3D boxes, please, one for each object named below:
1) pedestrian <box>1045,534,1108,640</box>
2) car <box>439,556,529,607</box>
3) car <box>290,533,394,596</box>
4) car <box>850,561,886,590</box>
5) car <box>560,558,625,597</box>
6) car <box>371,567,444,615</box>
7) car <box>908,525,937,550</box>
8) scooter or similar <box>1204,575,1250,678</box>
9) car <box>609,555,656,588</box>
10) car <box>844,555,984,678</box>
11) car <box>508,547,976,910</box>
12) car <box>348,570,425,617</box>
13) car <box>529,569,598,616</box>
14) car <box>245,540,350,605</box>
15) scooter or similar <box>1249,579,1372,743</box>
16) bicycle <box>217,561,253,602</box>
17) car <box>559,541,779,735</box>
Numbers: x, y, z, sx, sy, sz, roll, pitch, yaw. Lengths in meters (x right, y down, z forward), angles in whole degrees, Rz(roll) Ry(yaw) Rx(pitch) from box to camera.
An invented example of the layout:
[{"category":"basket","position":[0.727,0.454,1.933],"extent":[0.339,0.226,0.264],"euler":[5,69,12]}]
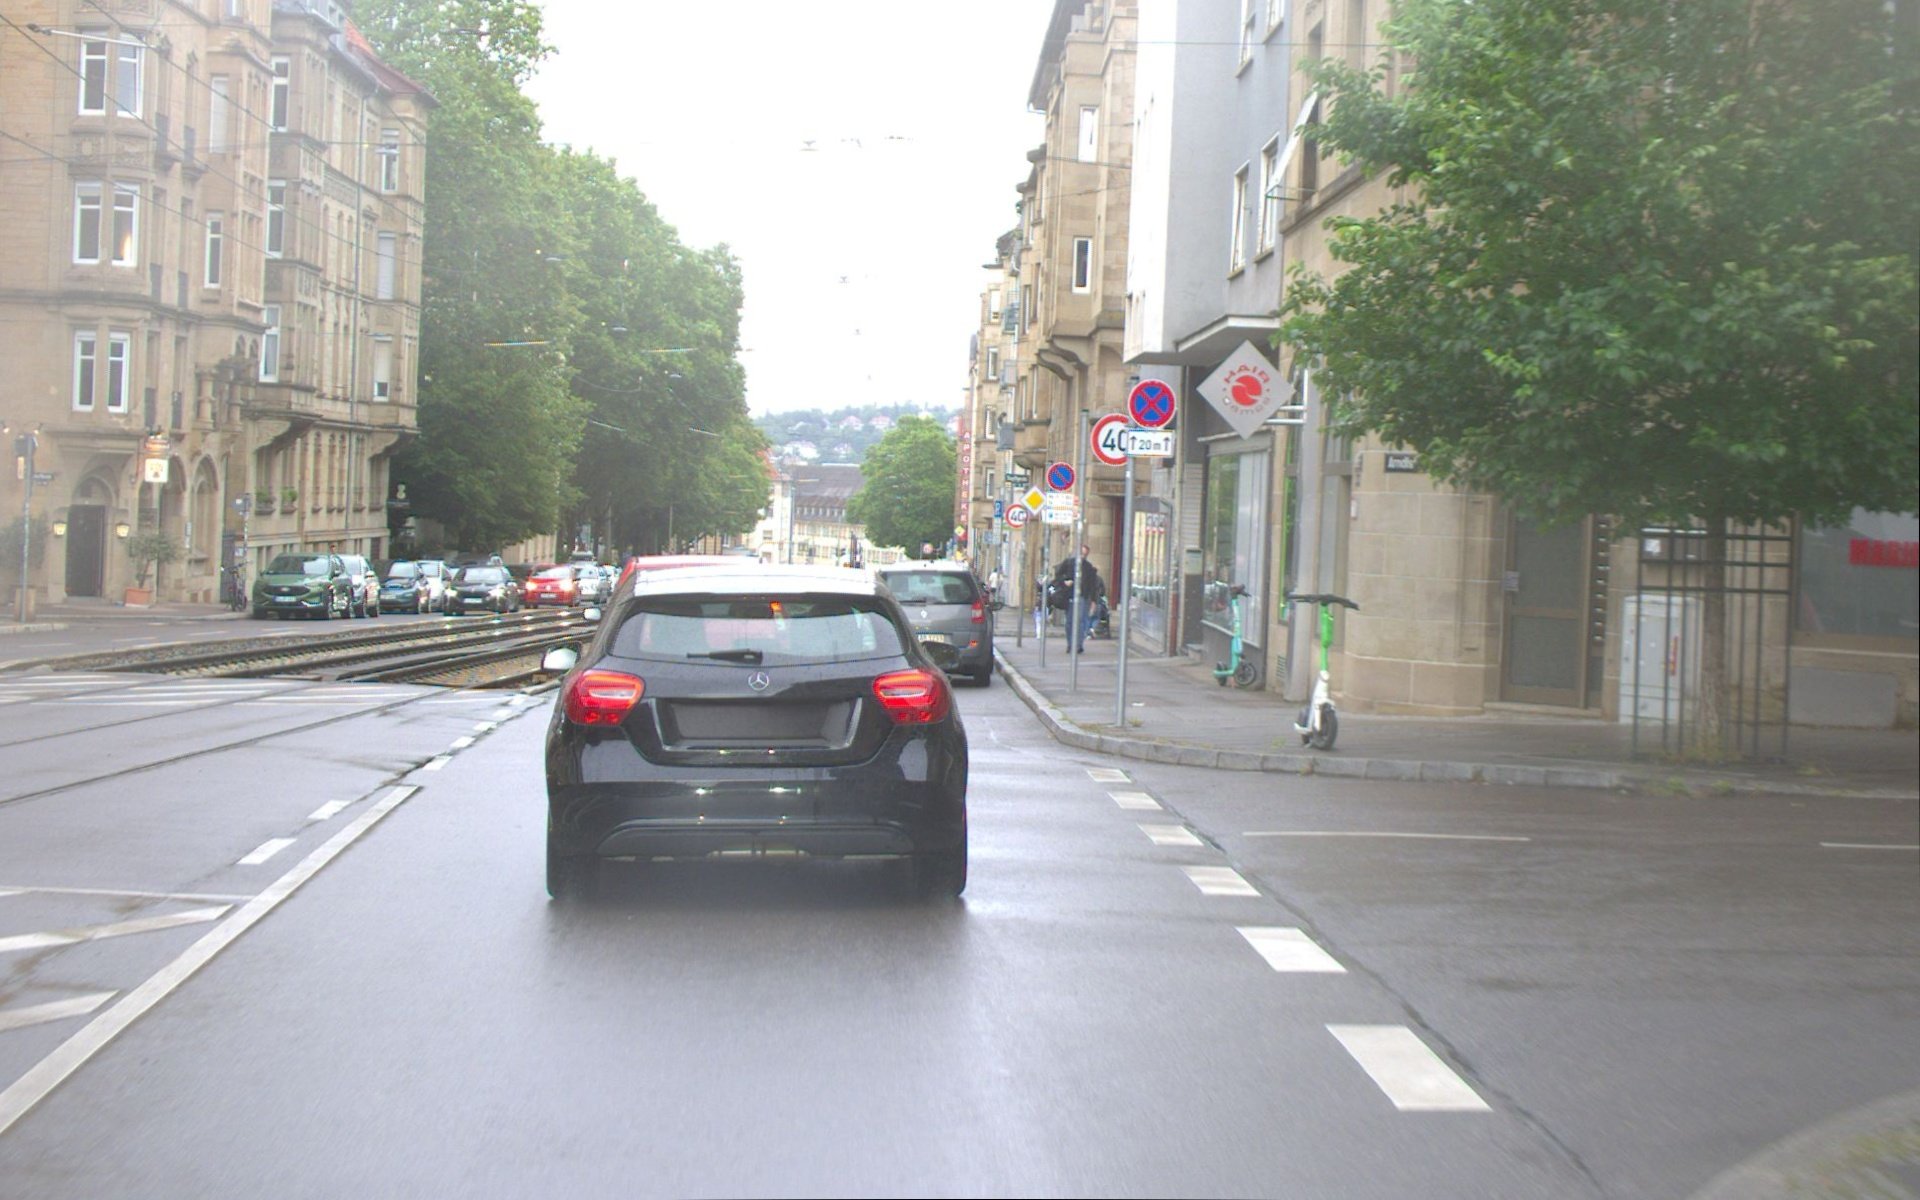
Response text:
[{"category":"pedestrian","position":[1.964,-0.225,57.923],"extent":[0.945,1.763,1.015],"euler":[1,1,-2]},{"category":"car","position":[-13.300,-0.524,96.263],"extent":[1.948,1.392,4.274],"euler":[0,1,0]},{"category":"car","position":[-16.109,-0.920,89.802],"extent":[1.806,1.591,4.525],"euler":[1,1,1]},{"category":"car","position":[-4.266,-1.146,160.439],"extent":[1.613,1.313,4.000],"euler":[1,1,-1]},{"category":"car","position":[-13.304,-0.836,124.759],"extent":[1.806,1.356,4.763],"euler":[1,1,0]},{"category":"car","position":[-16.646,-0.280,103.781],"extent":[1.569,1.408,3.481],"euler":[1,1,1]},{"category":"car","position":[-2.175,-3.600,198.109],"extent":[1.613,1.313,4.000],"euler":[3,0,-1]},{"category":"scooter or similar","position":[3.222,0.313,41.495],"extent":[0.395,1.212,1.107],"euler":[1,1,-3]},{"category":"car","position":[-14.521,-1.267,152.601],"extent":[1.695,1.384,3.481],"euler":[1,1,1]},{"category":"car","position":[-0.619,0.192,46.461],"extent":[1.765,1.553,4.746],"euler":[1,0,-1]},{"category":"car","position":[-0.904,0.490,15.762],"extent":[1.866,1.447,4.000],"euler":[0,1,-1]},{"category":"car","position":[-16.574,-0.199,99.478],"extent":[1.569,1.312,3.481],"euler":[1,1,1]},{"category":"car","position":[-13.099,-0.267,113.761],"extent":[1.681,1.492,3.518],"euler":[1,1,3]},{"category":"car","position":[-16.231,-0.686,84.377],"extent":[1.722,1.536,3.933],"euler":[1,1,1]},{"category":"scooter or similar","position":[2.662,0.449,26.264],"extent":[0.638,1.206,1.553],"euler":[1,0,-5]},{"category":"bicycle","position":[-18.033,-0.469,85.541],"extent":[0.598,0.997,2.080],"euler":[1,1,-5]},{"category":"car","position":[-2.367,0.265,28.703],"extent":[1.649,1.447,4.001],"euler":[2,1,-3]}]
